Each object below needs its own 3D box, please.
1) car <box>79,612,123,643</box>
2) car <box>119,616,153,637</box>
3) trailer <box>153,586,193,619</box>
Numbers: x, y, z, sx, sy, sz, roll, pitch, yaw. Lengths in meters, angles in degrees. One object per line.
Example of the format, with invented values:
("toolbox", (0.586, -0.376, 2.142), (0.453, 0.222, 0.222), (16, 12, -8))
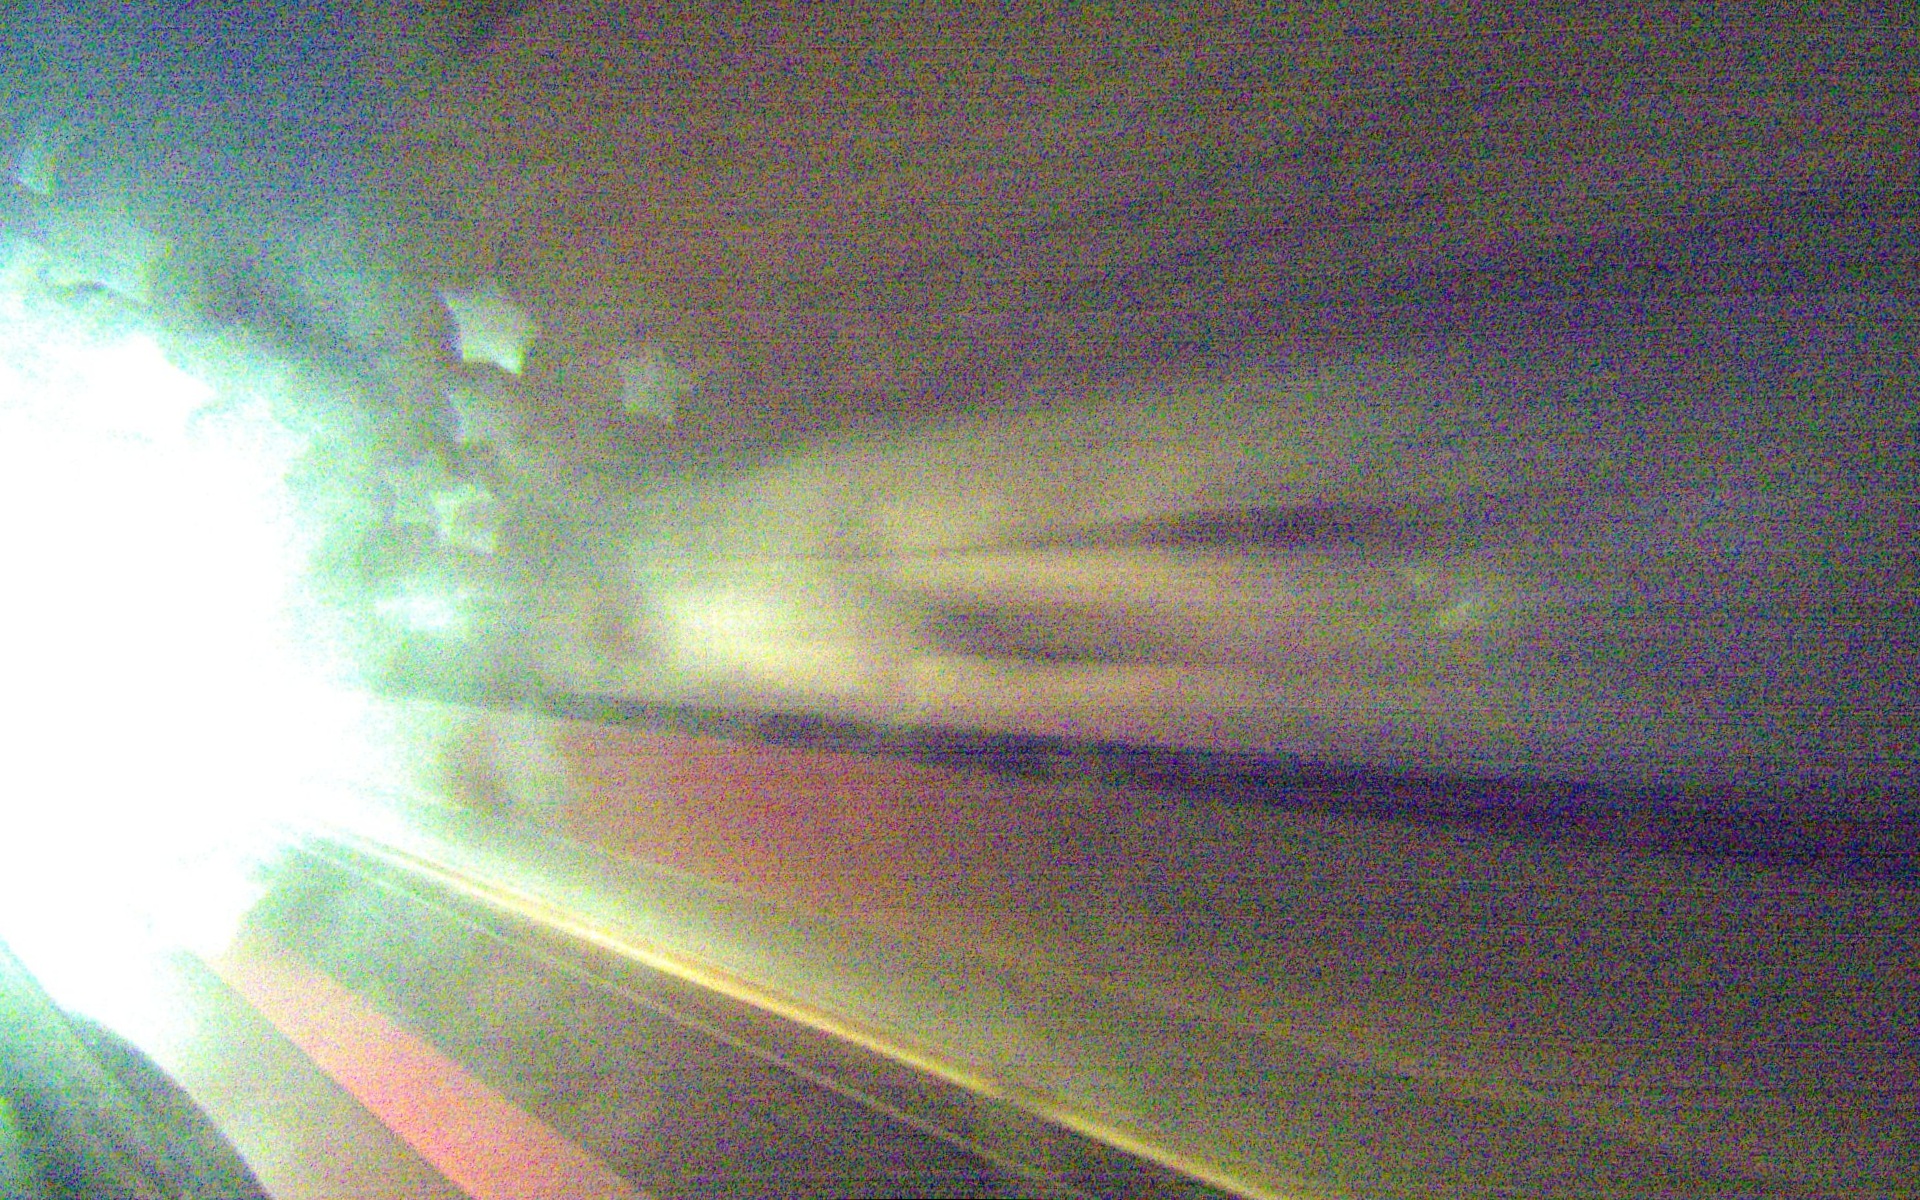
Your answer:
("car", (-63.951, 2.043, 75.329), (1.971, 2.028, 5.191), (-7, 3, -45))
("car", (-77.802, 2.508, 95.555), (4.001, 1.676, 1.972), (-3, 3, 44))
("trailer", (-101.095, 0.371, 129.978), (2.894, 3.776, 9.509), (-6, 3, -43))
